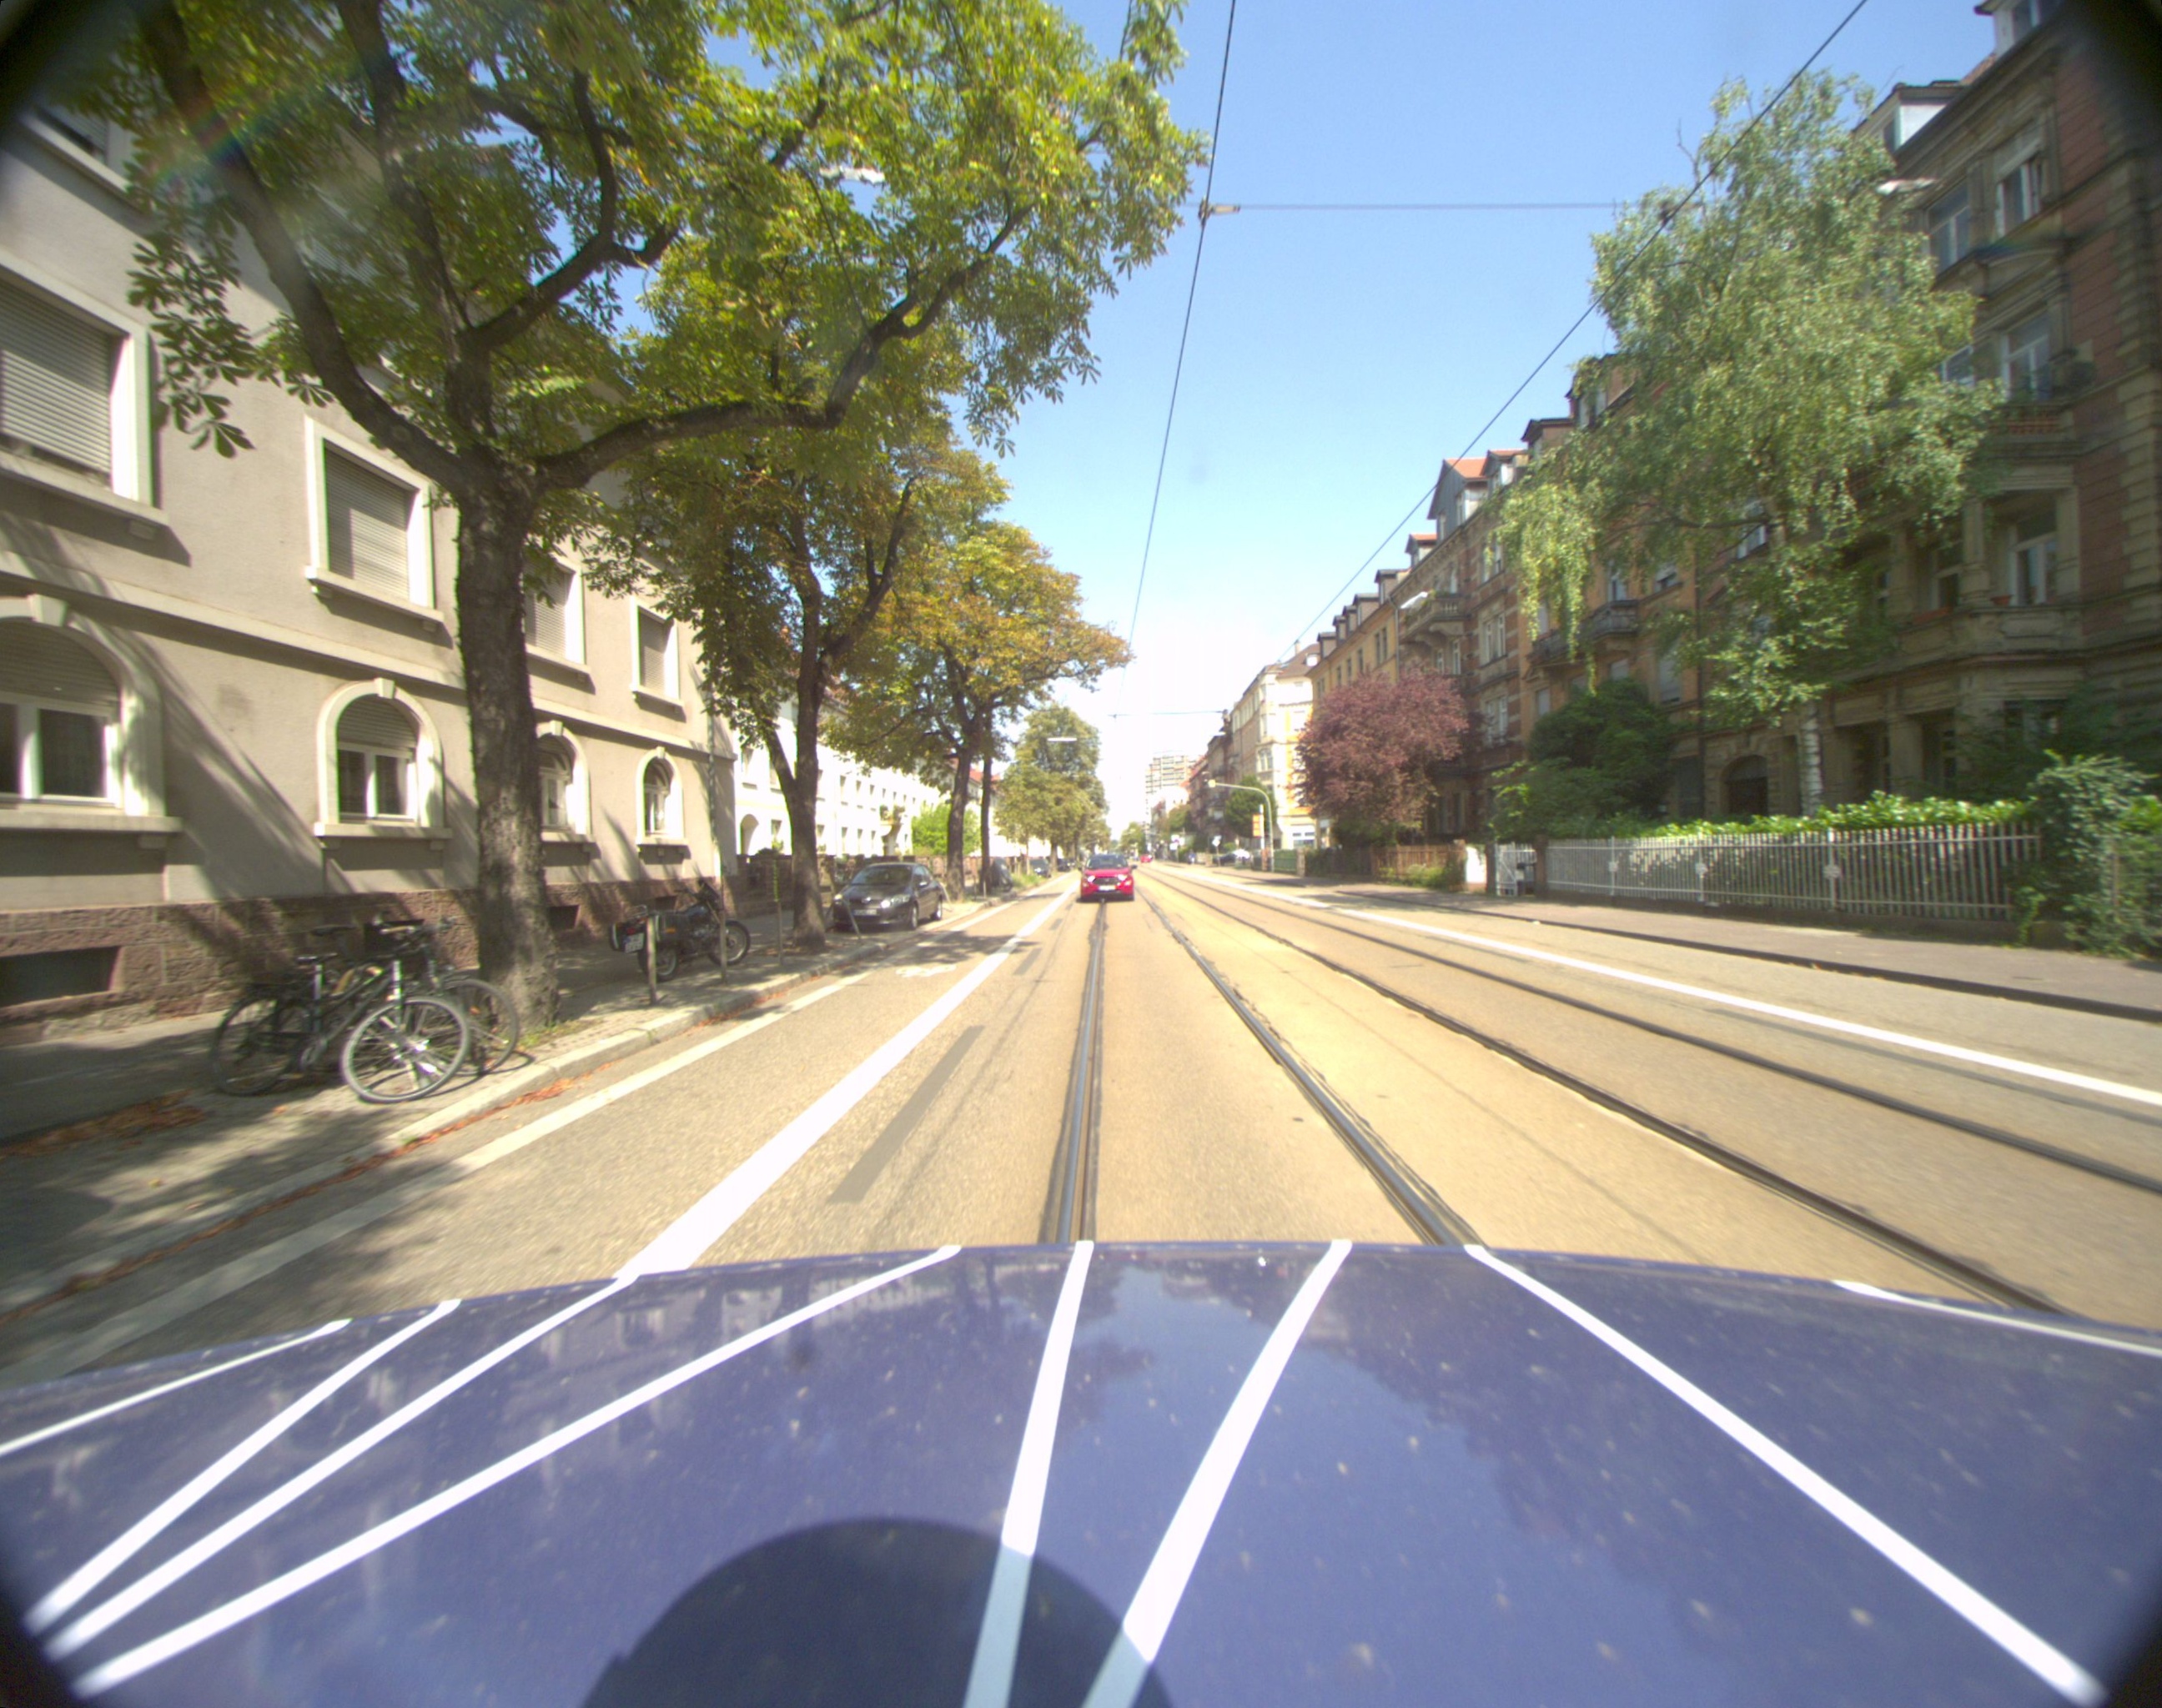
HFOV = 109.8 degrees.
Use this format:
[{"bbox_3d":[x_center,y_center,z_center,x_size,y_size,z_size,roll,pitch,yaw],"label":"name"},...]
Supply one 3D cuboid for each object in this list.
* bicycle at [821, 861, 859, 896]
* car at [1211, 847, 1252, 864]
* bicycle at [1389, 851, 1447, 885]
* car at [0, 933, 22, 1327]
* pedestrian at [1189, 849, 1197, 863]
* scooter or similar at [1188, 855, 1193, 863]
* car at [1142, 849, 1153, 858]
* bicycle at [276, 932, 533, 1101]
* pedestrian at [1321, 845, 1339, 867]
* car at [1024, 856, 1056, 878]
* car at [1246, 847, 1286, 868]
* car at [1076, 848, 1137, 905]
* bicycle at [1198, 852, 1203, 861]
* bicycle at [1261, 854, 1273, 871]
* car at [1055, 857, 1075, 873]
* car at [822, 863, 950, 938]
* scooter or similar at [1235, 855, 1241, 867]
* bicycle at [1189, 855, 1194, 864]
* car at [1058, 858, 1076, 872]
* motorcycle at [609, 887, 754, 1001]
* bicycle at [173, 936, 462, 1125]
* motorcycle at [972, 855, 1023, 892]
[{"bbox_3d":[-10.030,1.002,31.656,0.595,1.350,2.369,-2,0,5],"label":"bicycle"},{"bbox_3d":[16.275,0.171,82.380,4.111,1.585,1.879,-3,0,4],"label":"car"},{"bbox_3d":[12.706,0.515,28.690,1.816,1.175,0.717,-3,1,4],"label":"bicycle"},{"bbox_3d":[-5.193,1.079,0.633,1.845,1.523,4.780,0,0,2],"label":"car"},{"bbox_3d":[13.583,0.255,92.010,0.885,1.745,0.870,-2,0,2],"label":"pedestrian"},{"bbox_3d":[13.329,0.572,92.463,0.401,0.977,0.584,-3,1,-6],"label":"scooter or similar"},{"bbox_3d":[11.914,-0.083,136.323,1.736,1.481,4.001,-1,0,2],"label":"car"},{"bbox_3d":[-4.817,1.144,5.424,1.608,1.097,0.399,-2,1,9],"label":"bicycle"},{"bbox_3d":[17.535,0.167,53.582,0.870,1.502,0.886,-2,0,-6],"label":"pedestrian"},{"bbox_3d":[-2.965,0.921,55.844,1.897,1.468,4.841,-1,0,2],"label":"car"},{"bbox_3d":[14.711,0.282,60.588,1.999,1.585,4.359,-1,0,-1],"label":"car"},{"bbox_3d":[0.966,0.691,26.083,1.802,1.801,4.417,0,0,5],"label":"car"},{"bbox_3d":[14.577,0.301,92.783,0.391,1.032,1.834,-2,0,3],"label":"bicycle"},{"bbox_3d":[12.497,0.558,51.017,0.391,1.092,1.568,-2,0,0],"label":"bicycle"},{"bbox_3d":[-1.539,1.056,74.343,1.760,1.468,4.387,-2,0,1],"label":"car"},{"bbox_3d":[-4.457,1.034,18.030,1.845,1.523,4.116,-1,-2,2],"label":"car"},{"bbox_3d":[15.815,0.702,76.449,0.597,1.092,1.391,-2,0,12],"label":"scooter or similar"},{"bbox_3d":[14.415,0.684,99.127,0.391,1.141,1.582,-2,0,3],"label":"bicycle"},{"bbox_3d":[-1.528,1.213,86.021,1.759,1.469,4.458,2,0,2],"label":"car"},{"bbox_3d":[-5.216,1.115,10.109,0.712,1.248,2.177,-2,0,1],"label":"motorcycle"},{"bbox_3d":[-5.075,1.157,5.063,1.725,1.143,0.377,-2,1,9],"label":"bicycle"},{"bbox_3d":[-3.746,0.856,34.115,2.339,1.531,0.971,1,3,43],"label":"motorcycle"}]
